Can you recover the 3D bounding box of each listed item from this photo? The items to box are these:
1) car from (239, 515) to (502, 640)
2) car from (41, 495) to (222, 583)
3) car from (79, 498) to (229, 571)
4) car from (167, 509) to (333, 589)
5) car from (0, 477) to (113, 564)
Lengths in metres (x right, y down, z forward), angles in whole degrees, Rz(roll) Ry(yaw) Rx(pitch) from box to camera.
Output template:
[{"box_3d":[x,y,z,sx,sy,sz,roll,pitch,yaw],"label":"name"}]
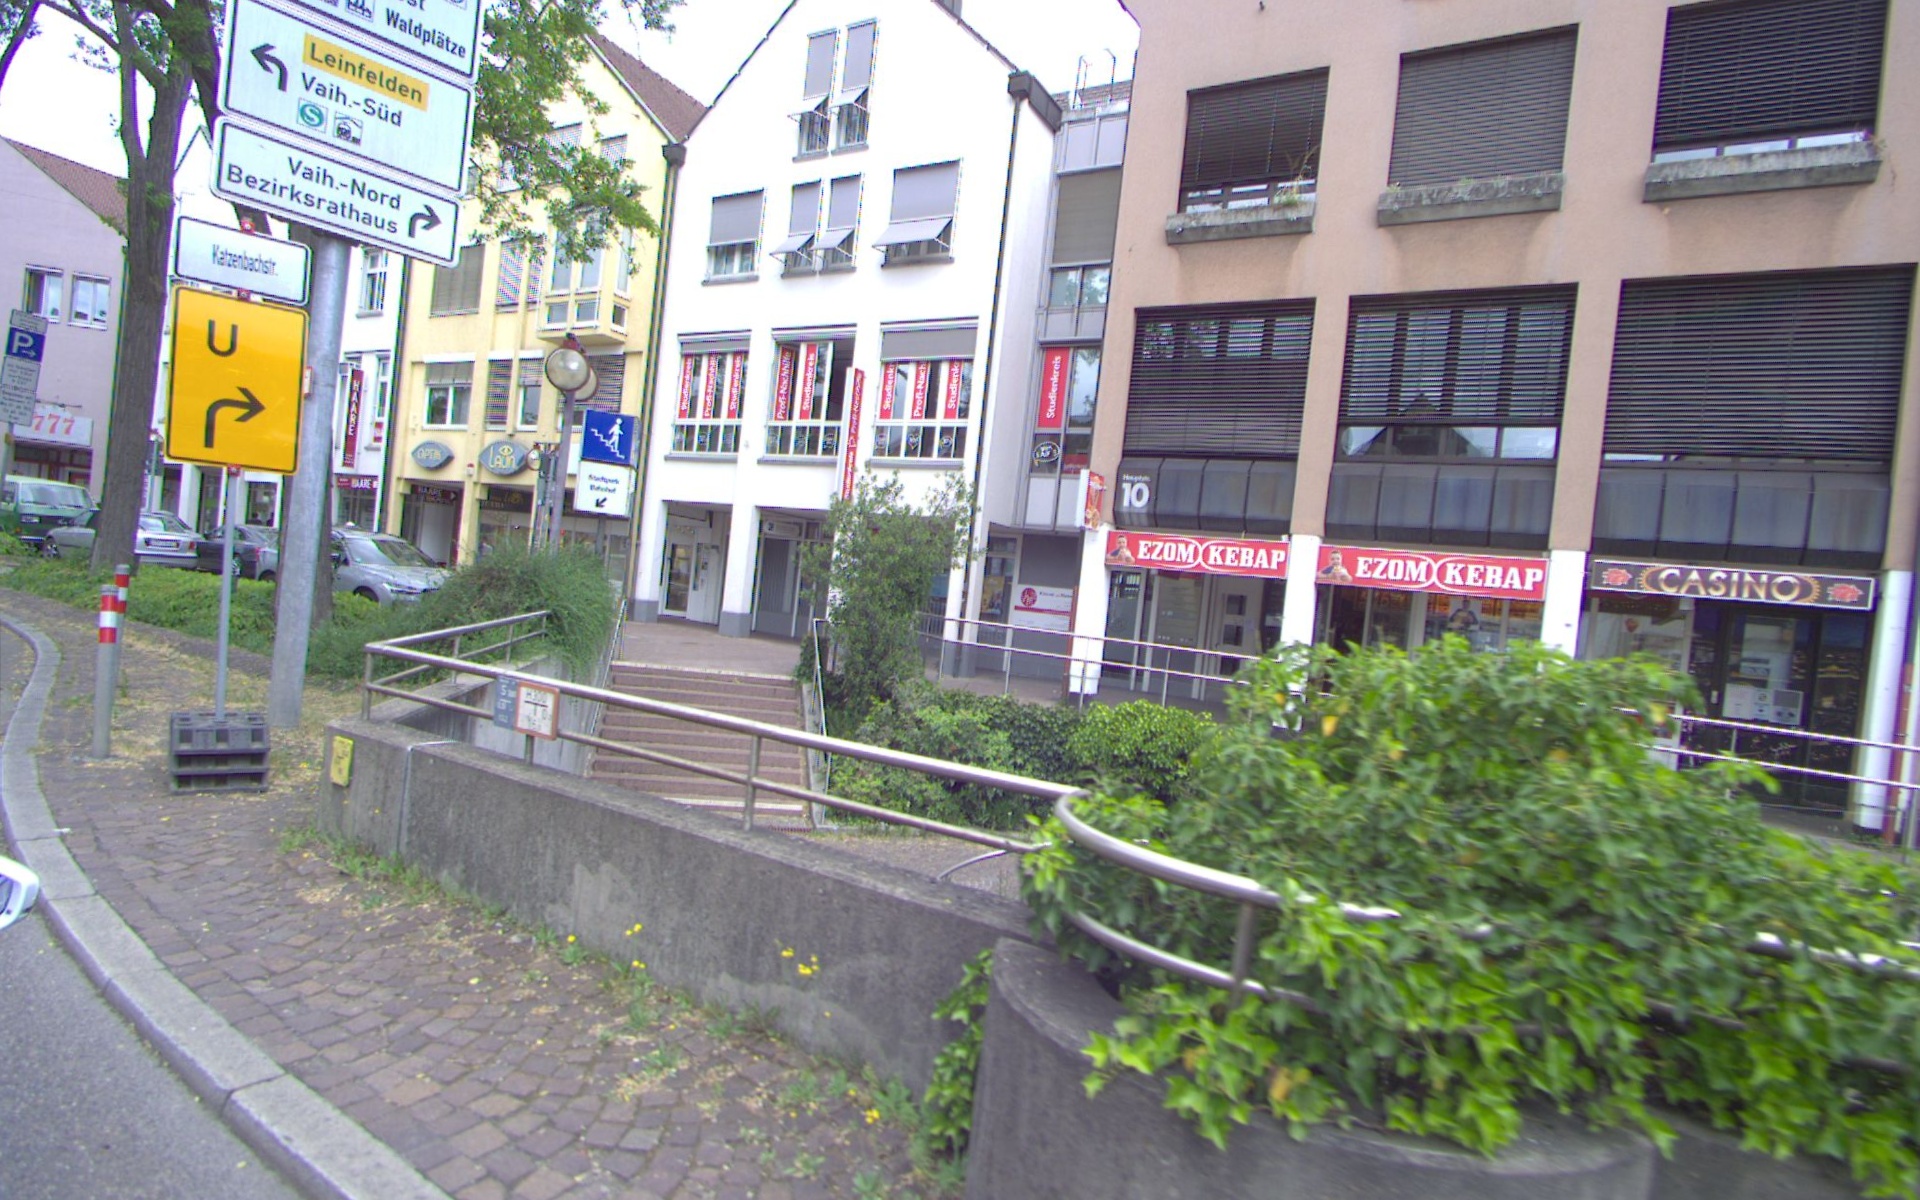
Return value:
[{"box_3d":[-10.516,-0.410,17.905,4.421,1.659,1.884,7,0,28],"label":"car"},{"box_3d":[-19.328,-1.426,23.456,3.931,1.547,1.870,7,0,29],"label":"car"},{"box_3d":[-22.702,-1.845,28.329,3.931,1.547,1.870,7,0,29],"label":"car"},{"box_3d":[-18.210,-1.305,25.787,3.931,1.547,1.870,7,0,29],"label":"car"},{"box_3d":[-24.028,-2.119,26.010,3.931,1.888,1.870,7,0,29],"label":"car"}]
